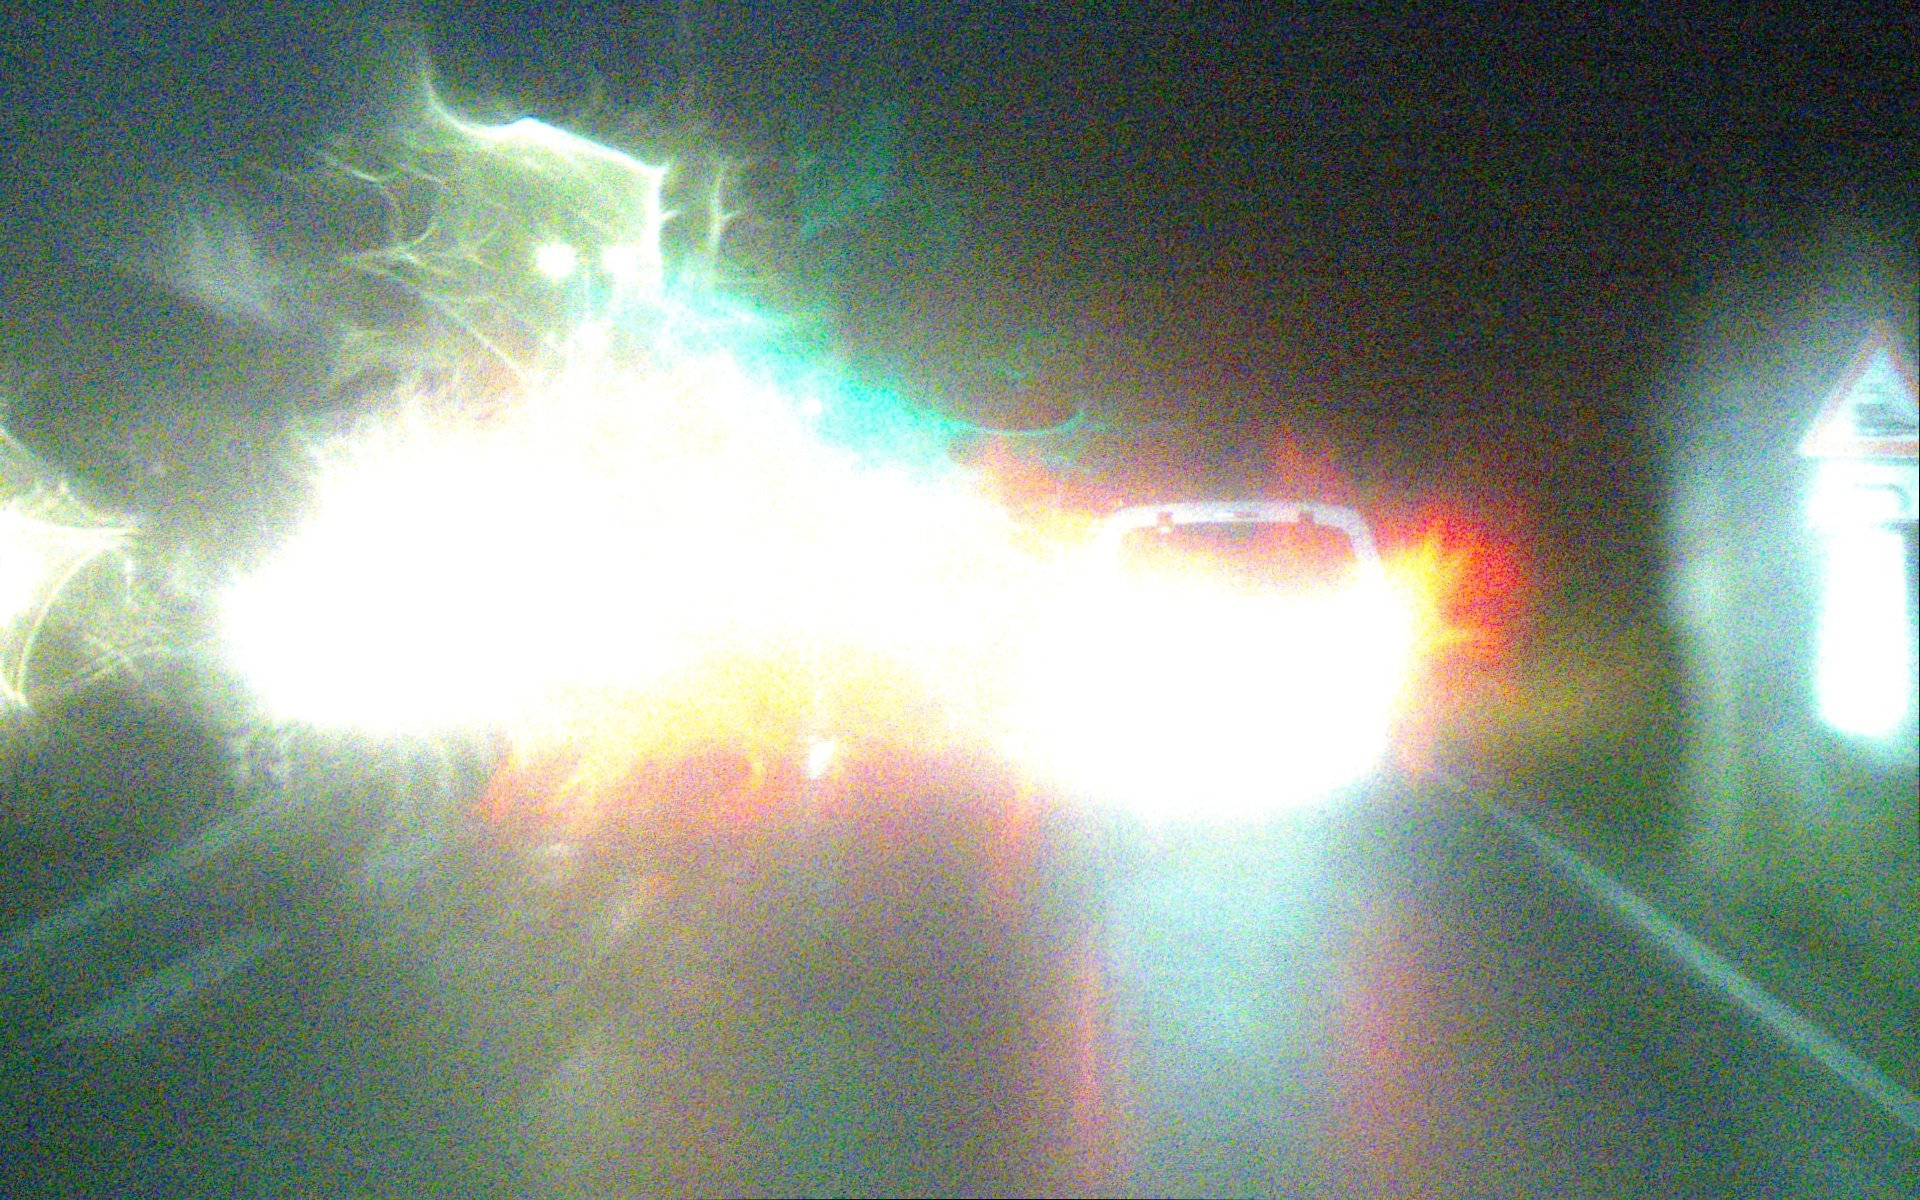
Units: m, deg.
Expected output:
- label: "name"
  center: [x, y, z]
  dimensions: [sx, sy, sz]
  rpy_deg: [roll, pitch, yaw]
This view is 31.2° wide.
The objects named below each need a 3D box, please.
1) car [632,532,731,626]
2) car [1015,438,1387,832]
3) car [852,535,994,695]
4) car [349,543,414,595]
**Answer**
- label: "car"
  center: [-5.552, -0.454, 68.103]
  dimensions: [1.783, 1.776, 4.437]
  rpy_deg: [-1, 1, -7]
- label: "car"
  center: [1.280, 0.134, 20.016]
  dimensions: [1.791, 2.015, 4.580]
  rpy_deg: [0, 1, 0]
- label: "car"
  center: [-0.493, 0.145, 45.948]
  dimensions: [1.791, 2.015, 4.580]
  rpy_deg: [0, 1, 0]
- label: "car"
  center: [-17.958, -0.956, 106.844]
  dimensions: [1.801, 1.582, 4.032]
  rpy_deg: [1, 0, -7]
